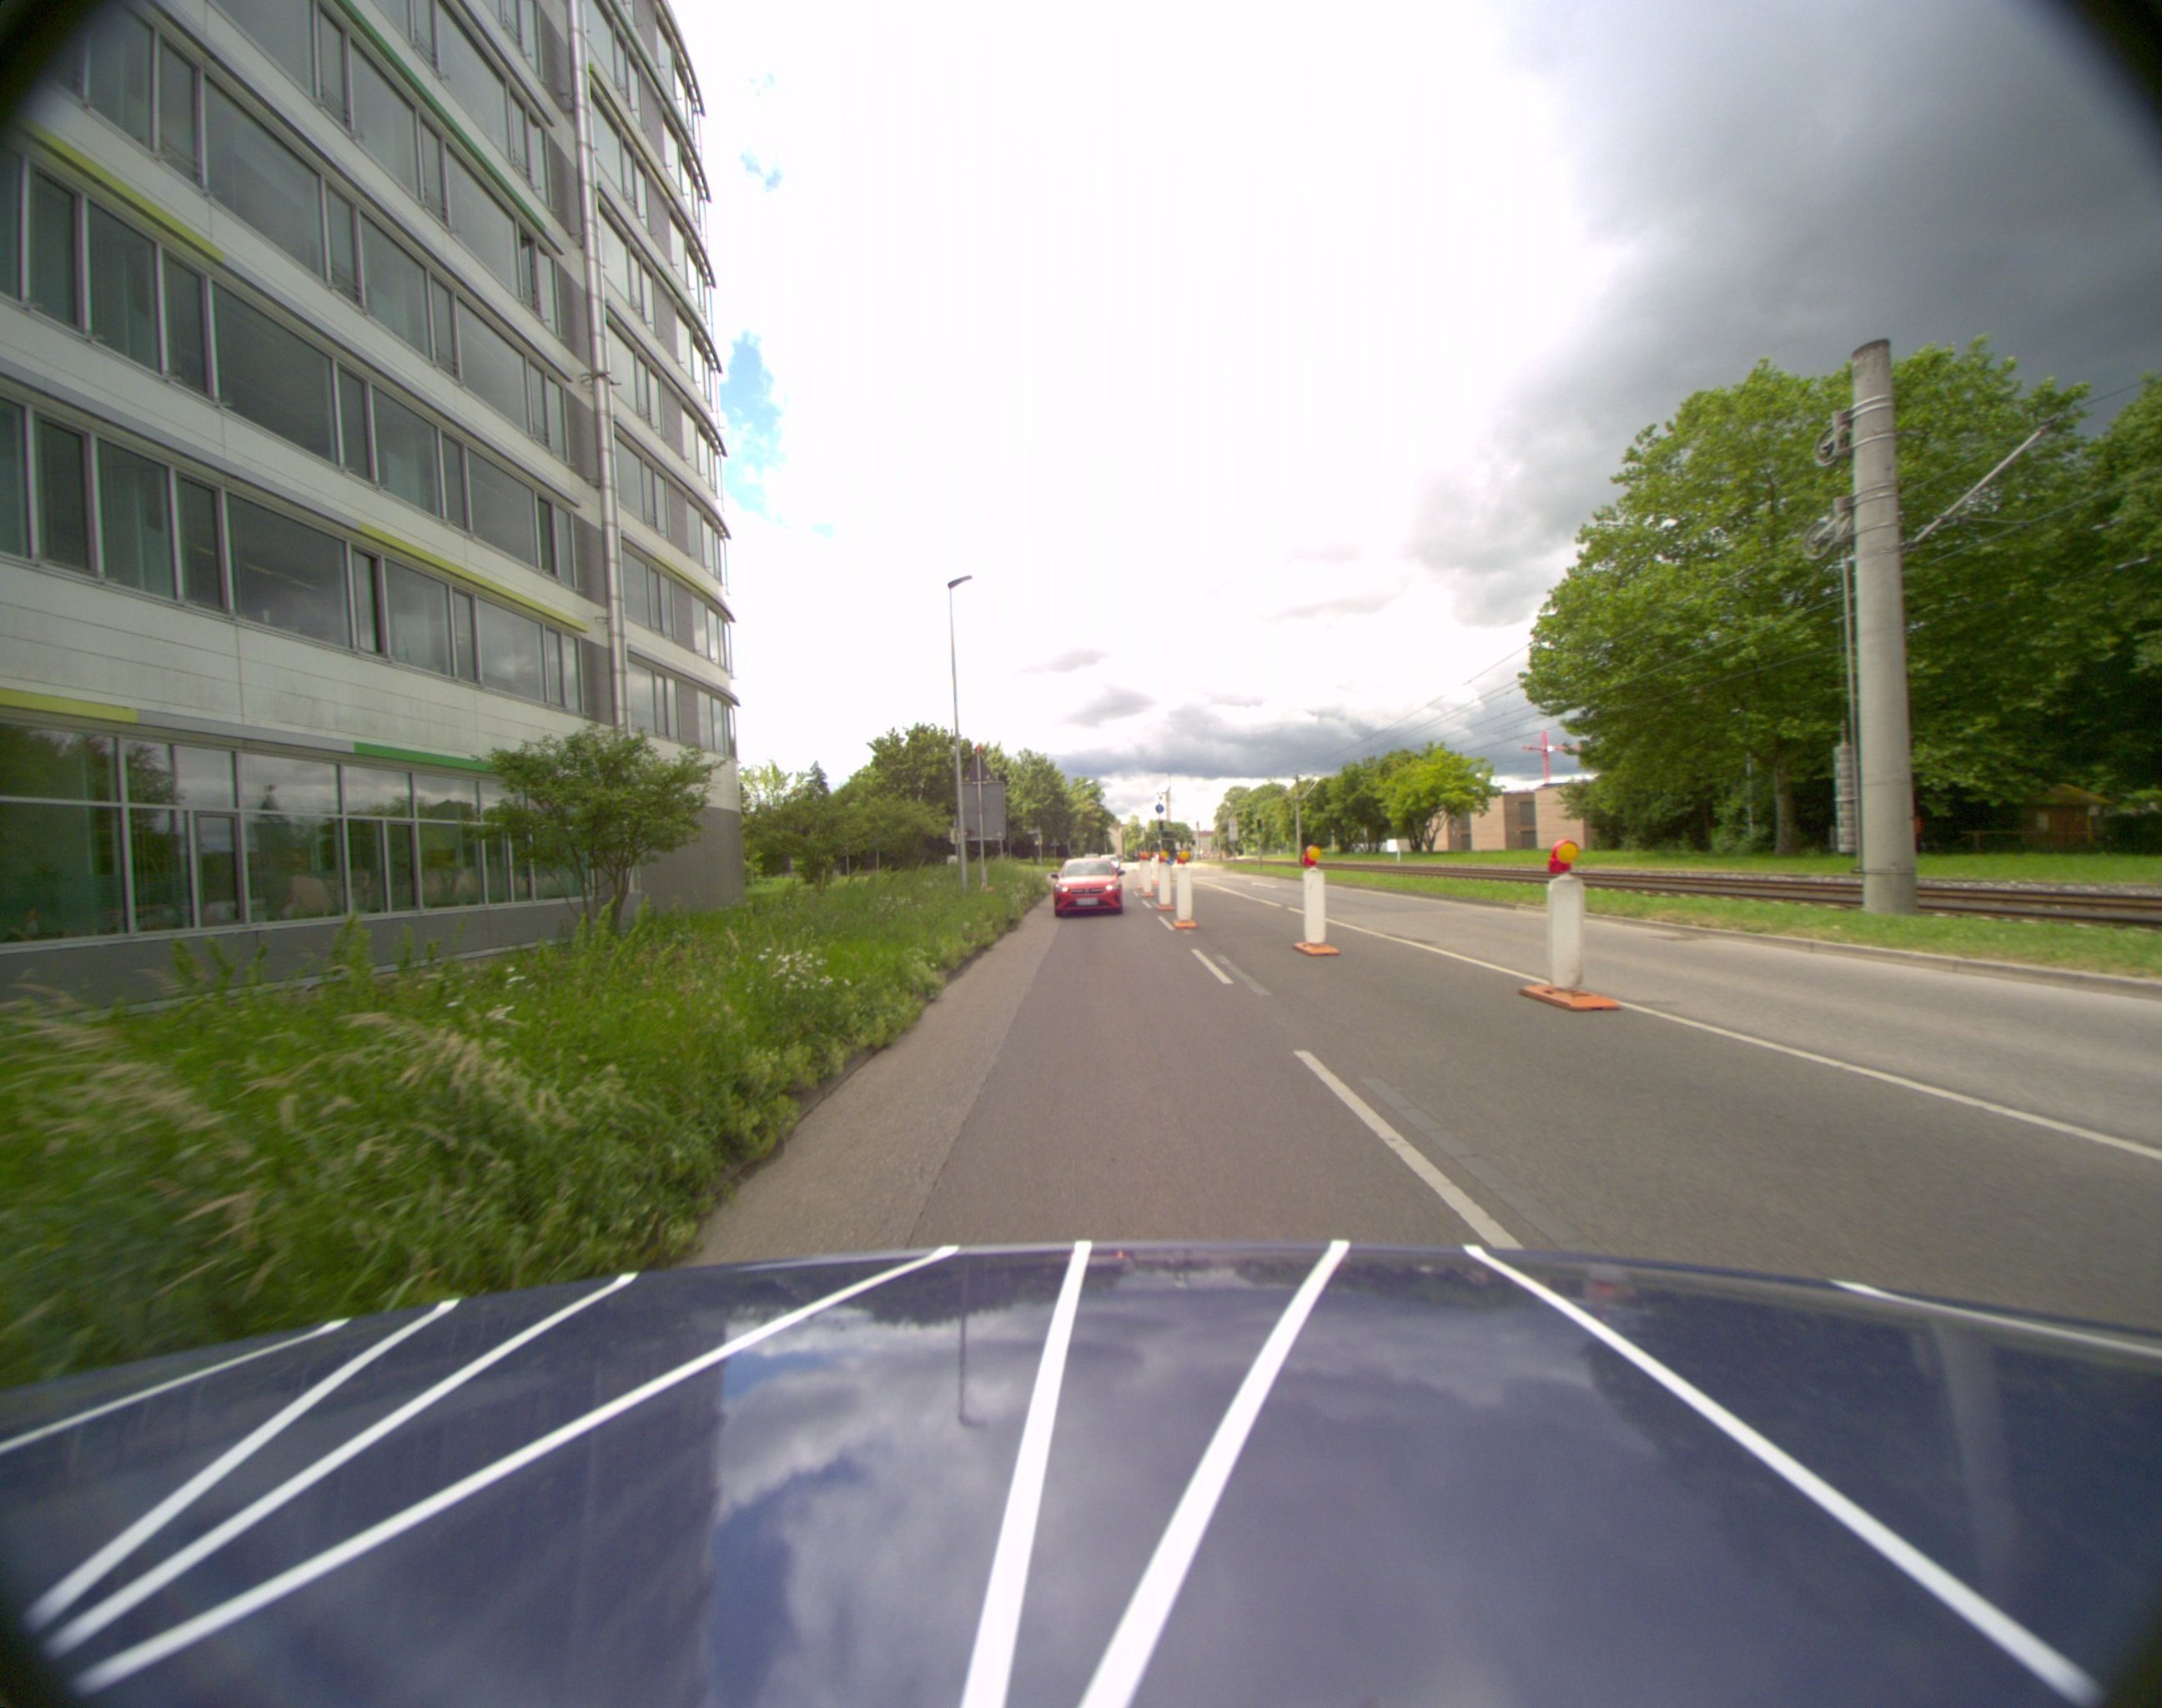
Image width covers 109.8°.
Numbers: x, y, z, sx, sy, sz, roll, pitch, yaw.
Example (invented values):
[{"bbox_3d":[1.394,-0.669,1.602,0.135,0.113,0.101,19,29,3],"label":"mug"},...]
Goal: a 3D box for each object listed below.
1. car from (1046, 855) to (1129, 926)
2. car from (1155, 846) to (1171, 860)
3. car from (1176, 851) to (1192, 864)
[{"bbox_3d":[0.293,0.831,19.601,1.789,1.453,4.853,-3,1,3],"label":"car"},{"bbox_3d":[10.654,-0.078,98.539,1.864,1.600,4.611,-2,-2,4],"label":"car"},{"bbox_3d":[15.135,0.500,112.085,1.998,1.650,4.523,-3,1,5],"label":"car"}]
